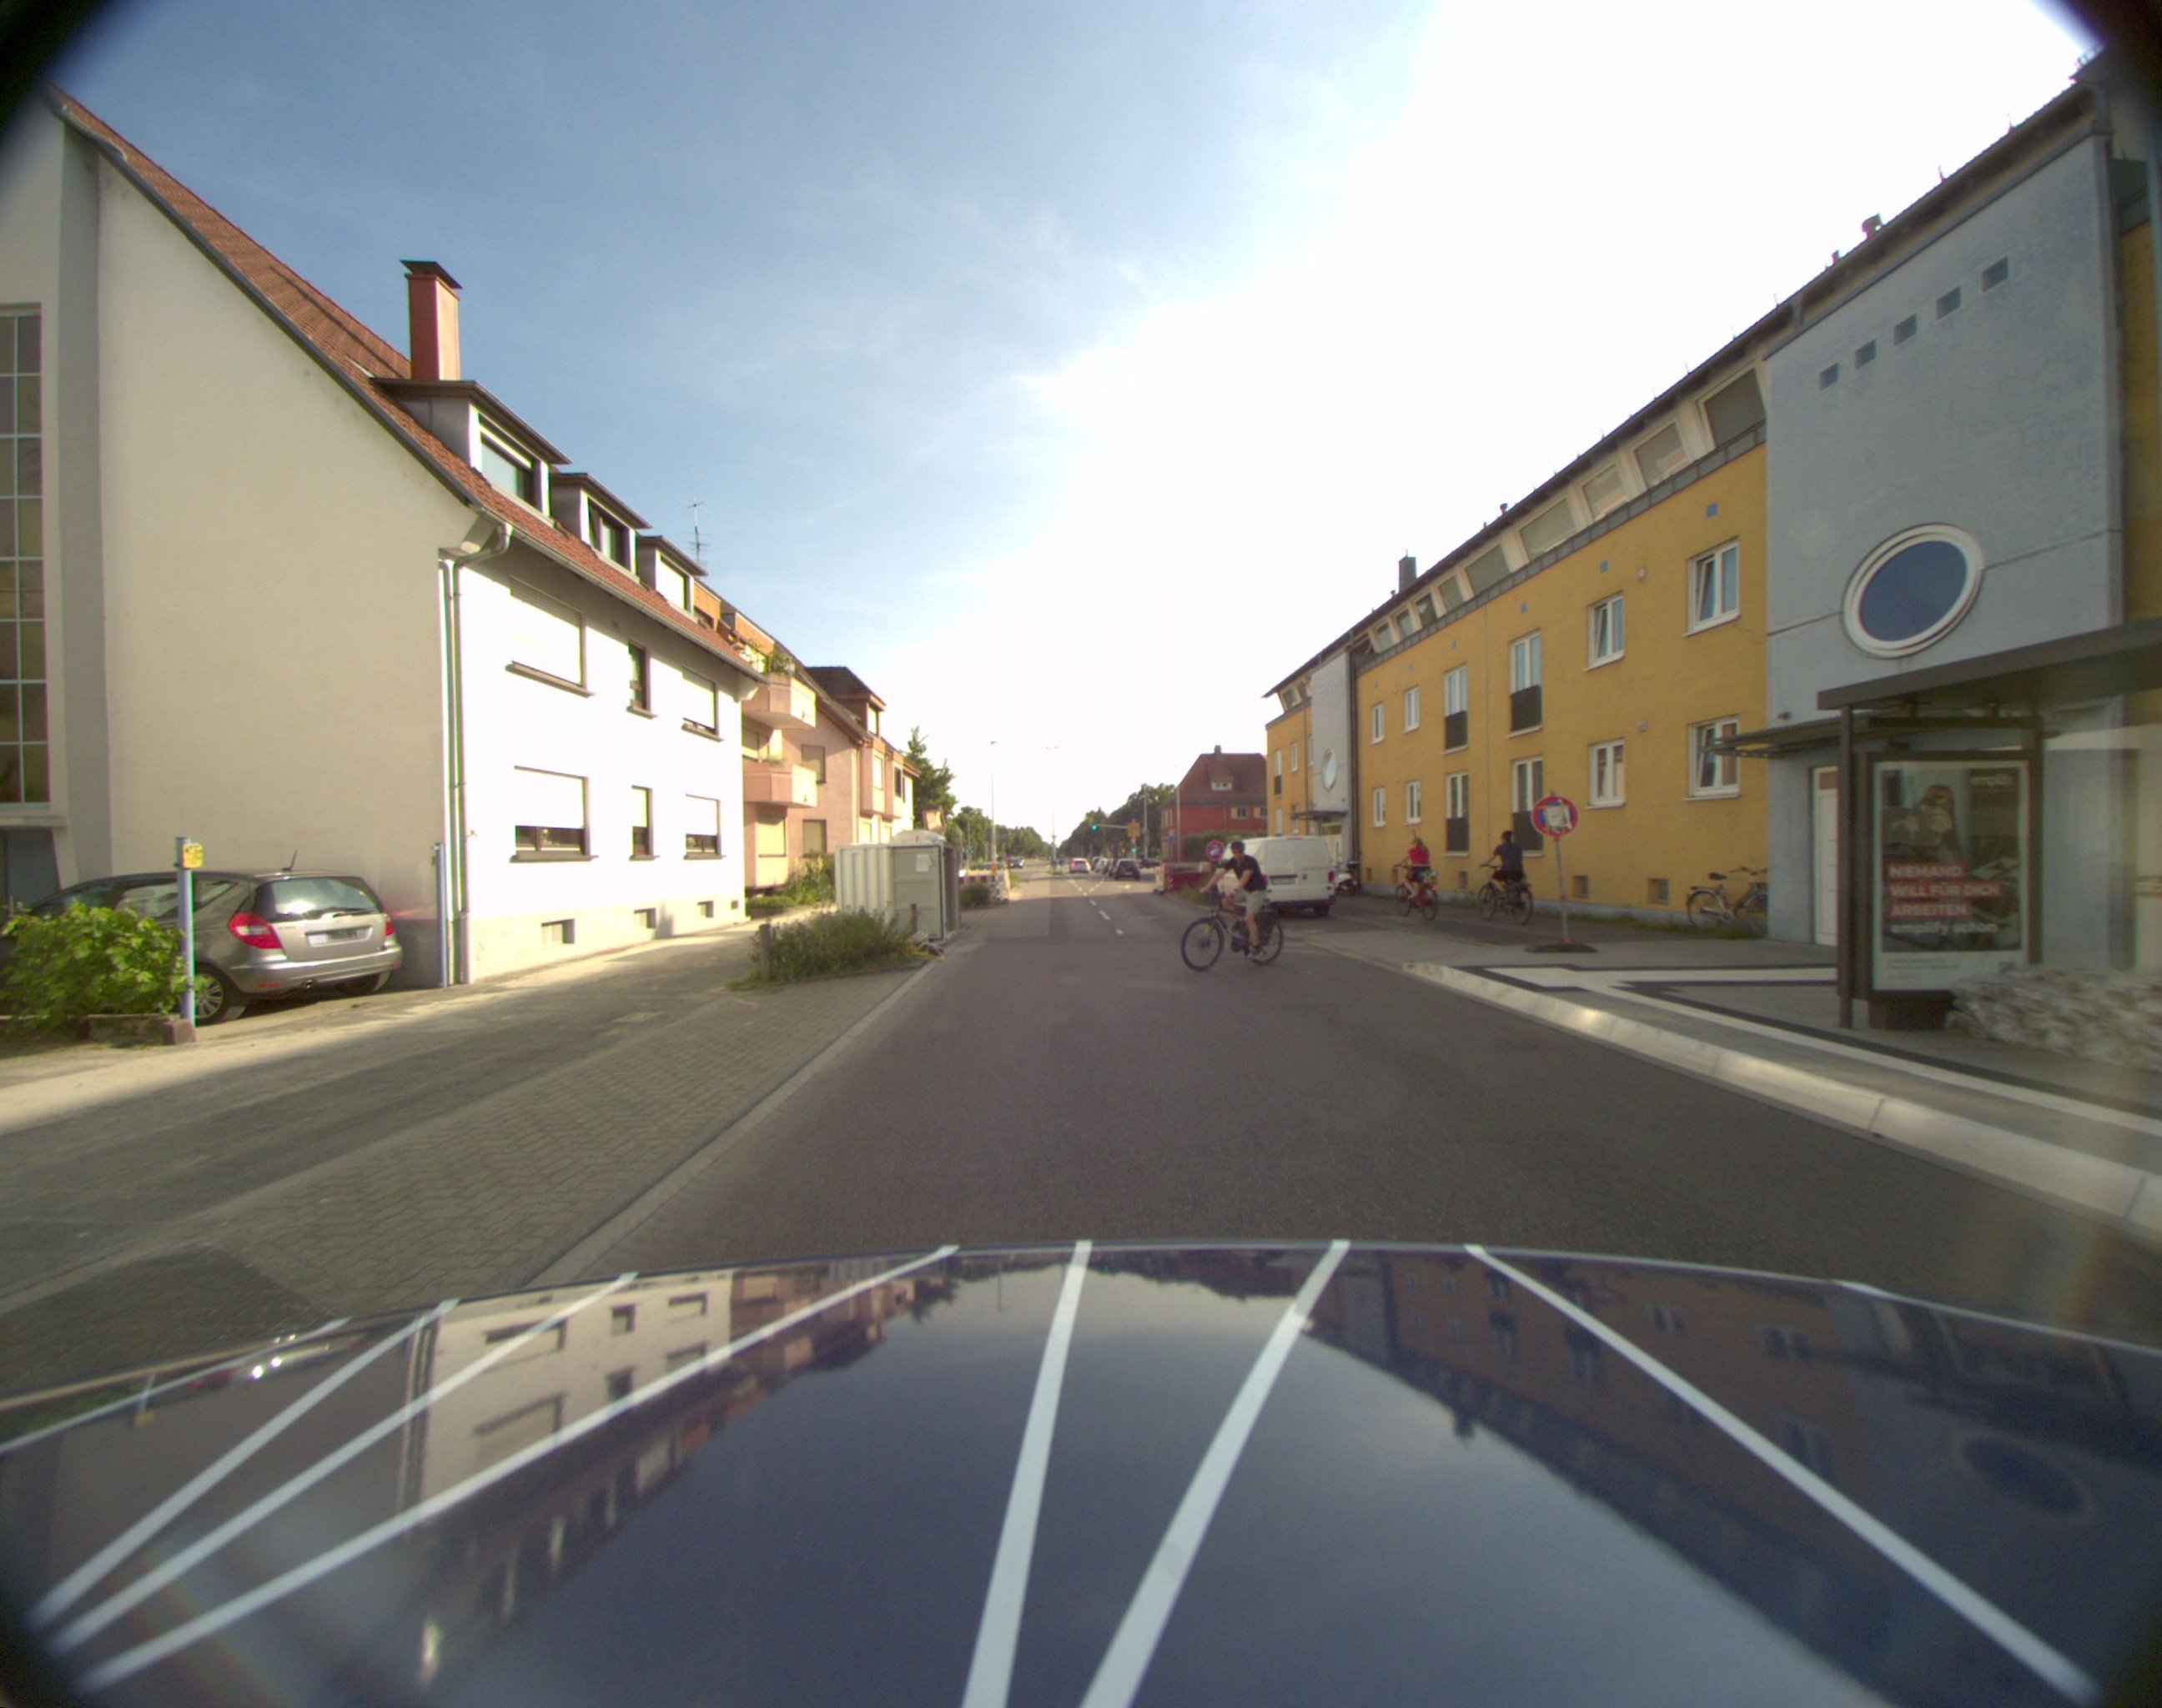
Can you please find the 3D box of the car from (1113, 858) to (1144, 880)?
[{"bbox_3d":[3.284,1.032,53.451,1.795,1.433,3.999,1,0,-2],"label":"car"}]

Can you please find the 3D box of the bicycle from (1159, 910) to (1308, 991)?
[{"bbox_3d":[2.079,1.251,10.224,2.030,0.849,0.679,-2,0,-32],"label":"bicycle"}]

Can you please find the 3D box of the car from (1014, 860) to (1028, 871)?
[{"bbox_3d":[-8.867,1.695,112.450,1.795,1.433,3.999,1,0,-2],"label":"car"}]

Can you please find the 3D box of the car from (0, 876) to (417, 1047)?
[{"bbox_3d":[-10.014,1.110,8.379,3.750,1.557,1.795,-2,0,1],"label":"car"}]

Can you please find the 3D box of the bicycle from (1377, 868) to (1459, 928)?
[{"bbox_3d":[7.169,0.905,16.287,0.613,1.154,2.021,-2,0,-7],"label":"bicycle"}]

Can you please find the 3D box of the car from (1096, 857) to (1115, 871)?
[{"bbox_3d":[2.634,1.029,81.624,1.795,1.433,3.999,-2,0,-2],"label":"car"}]

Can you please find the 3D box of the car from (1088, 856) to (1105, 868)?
[{"bbox_3d":[1.857,0.984,93.142,1.795,1.433,3.999,-2,0,-2],"label":"car"}]

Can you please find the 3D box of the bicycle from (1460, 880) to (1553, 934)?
[{"bbox_3d":[8.200,0.999,14.734,0.692,0.907,1.873,-2,0,-2],"label":"bicycle"}]

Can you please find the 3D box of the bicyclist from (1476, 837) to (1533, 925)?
[{"bbox_3d":[8.178,0.509,14.686,0.675,1.659,0.666,-2,1,-2],"label":"bicyclist"}]

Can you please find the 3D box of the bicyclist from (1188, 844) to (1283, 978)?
[{"bbox_3d":[2.066,0.723,10.197,0.879,1.679,0.844,-2,1,-31],"label":"bicyclist"}]

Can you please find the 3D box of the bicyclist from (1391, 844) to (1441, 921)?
[{"bbox_3d":[7.153,0.595,16.238,0.671,1.594,0.727,-2,0,-7],"label":"bicyclist"}]

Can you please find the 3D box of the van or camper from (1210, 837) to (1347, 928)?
[{"bbox_3d":[4.878,0.636,19.603,1.999,1.991,4.919,-2,0,-3],"label":"van or camper"}]

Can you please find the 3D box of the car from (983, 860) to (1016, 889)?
[{"bbox_3d":[-4.396,1.063,40.802,1.636,1.433,3.407,-2,0,-7],"label":"car"}]

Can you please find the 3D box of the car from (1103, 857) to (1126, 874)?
[{"bbox_3d":[3.144,1.045,71.283,1.795,1.433,3.999,-2,0,-2],"label":"car"}]

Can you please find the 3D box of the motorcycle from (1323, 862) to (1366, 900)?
[{"bbox_3d":[8.743,0.878,25.279,0.584,1.176,1.877,-2,0,-5],"label":"motorcycle"}]

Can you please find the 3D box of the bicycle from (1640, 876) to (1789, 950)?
[{"bbox_3d":[9.844,0.881,11.919,0.718,0.991,1.906,-2,0,-1],"label":"bicycle"}]

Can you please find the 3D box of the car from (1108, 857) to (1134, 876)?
[{"bbox_3d":[3.271,0.976,62.436,1.795,1.433,3.999,-2,0,-2],"label":"car"}]

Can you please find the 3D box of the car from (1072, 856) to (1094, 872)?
[{"bbox_3d":[0.184,1.042,77.392,1.982,1.520,3.999,-2,0,-2],"label":"car"}]
